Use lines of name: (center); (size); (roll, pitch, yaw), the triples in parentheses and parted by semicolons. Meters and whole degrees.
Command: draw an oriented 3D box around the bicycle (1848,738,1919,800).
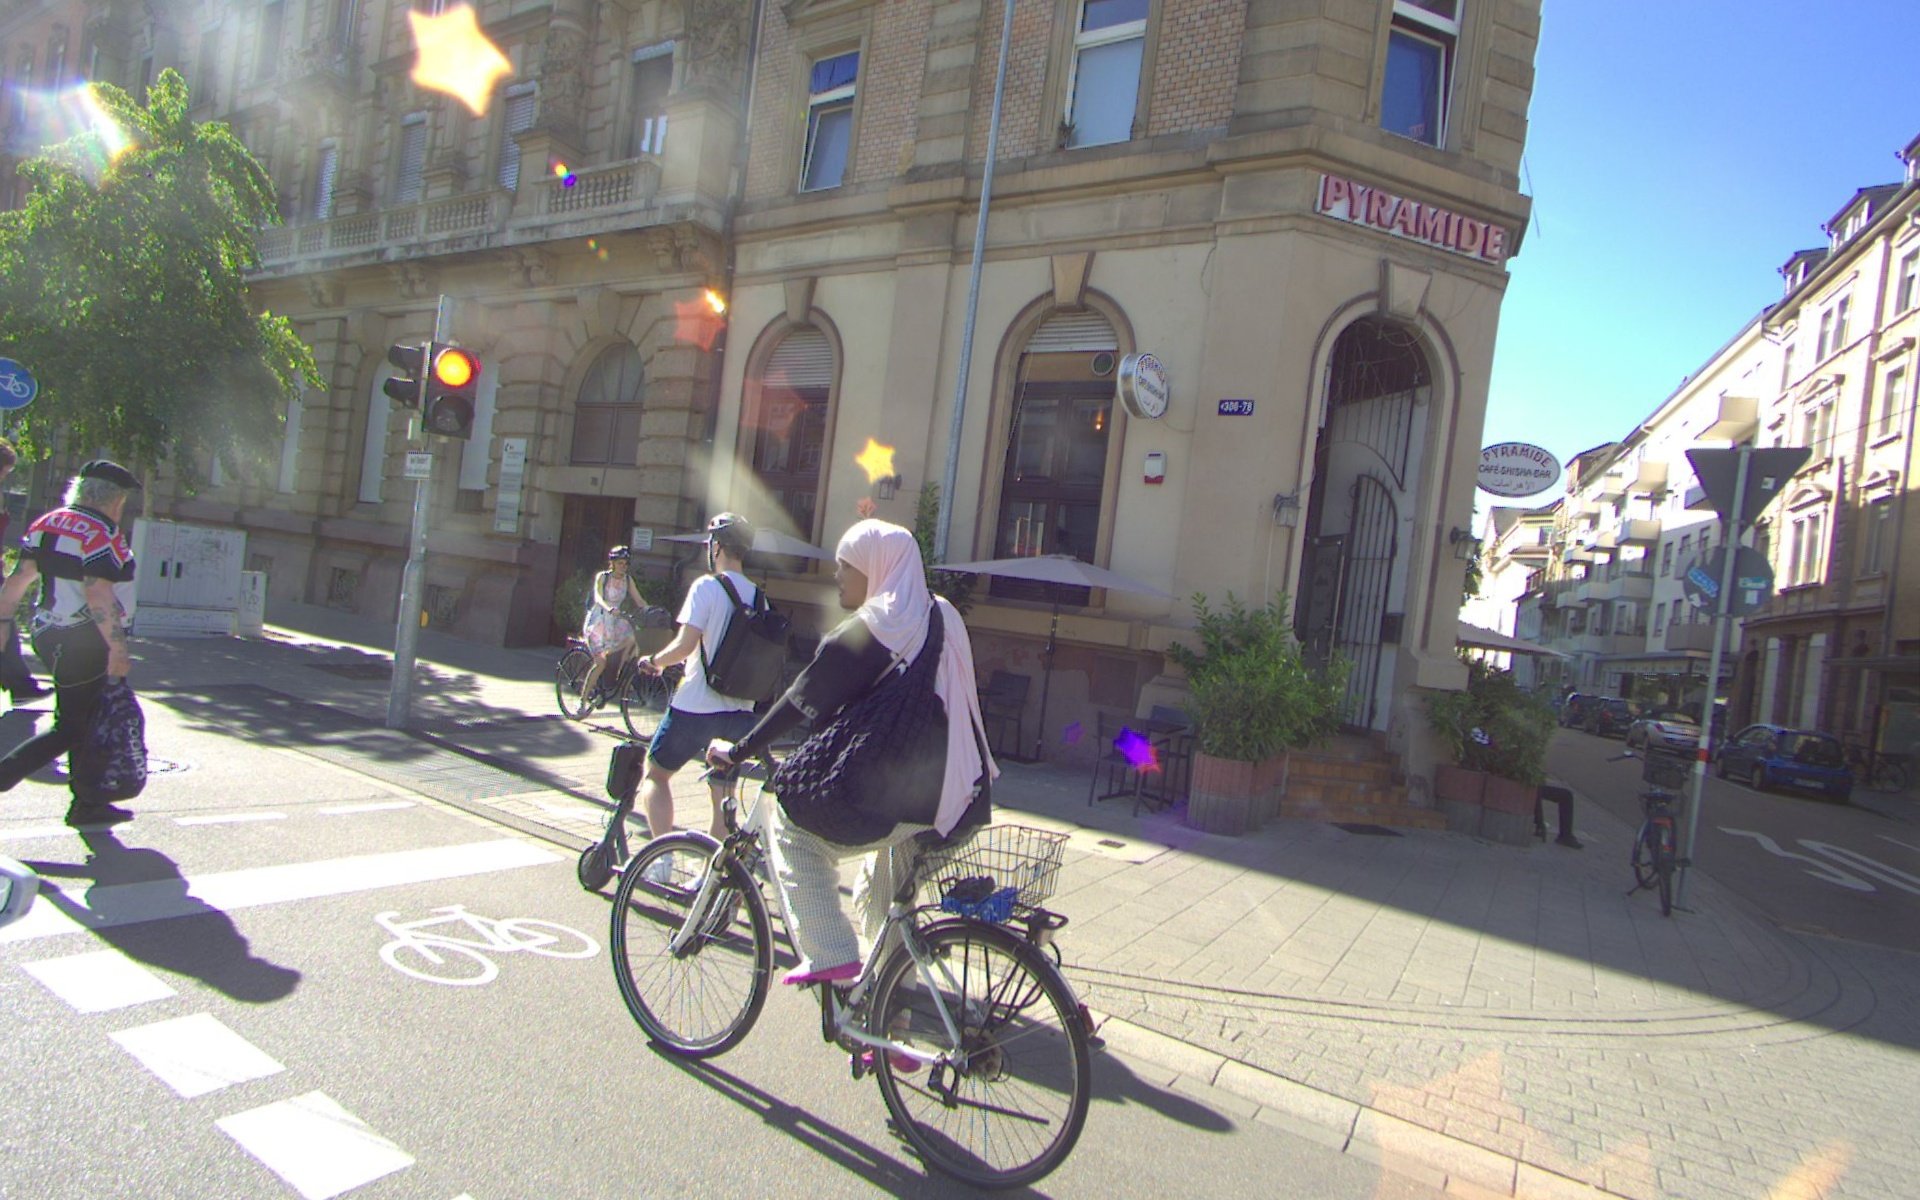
bicycle: (22.179, 4.008, 23.687); (0.621, 1.192, 2.014); (7, 0, 1)

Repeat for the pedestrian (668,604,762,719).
pedestrian: (-2.778, 0.691, 11.445); (0.624, 1.193, 0.706); (7, 2, 31)

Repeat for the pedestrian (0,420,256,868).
pedestrian: (-4.079, 0.171, 4.606); (0.953, 1.809, 0.867); (7, -1, 25)

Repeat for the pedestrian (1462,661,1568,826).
pedestrian: (6.605, 1.680, 12.031); (0.852, 1.781, 0.909); (7, -1, 25)

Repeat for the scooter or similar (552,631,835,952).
scooter or similar: (-1.282, 0.851, 4.801); (1.151, 1.240, 0.492); (7, -2, 31)

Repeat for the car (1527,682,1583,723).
car: (30.111, 5.144, 51.010); (1.769, 1.685, 3.772); (7, -1, 23)

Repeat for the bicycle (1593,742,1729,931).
bicycle: (5.696, 1.843, 8.201); (0.643, 1.186, 1.818); (11, 2, 35)

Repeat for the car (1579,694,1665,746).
car: (24.070, 4.311, 36.706); (1.769, 1.449, 3.773); (7, -1, 22)

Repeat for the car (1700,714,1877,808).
car: (18.516, 3.535, 22.723); (1.769, 1.437, 4.000); (9, 0, 22)

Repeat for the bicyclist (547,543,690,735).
bicyclist: (-3.229, 0.361, 9.513); (0.944, 1.659, 0.667); (7, 1, 31)

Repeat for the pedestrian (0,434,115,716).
pedestrian: (-6.851, -0.193, 7.072); (0.642, 1.932, 1.078); (7, 0, 25)

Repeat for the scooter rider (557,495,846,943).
scooter rider: (-1.222, 0.516, 4.806); (0.886, 1.882, 0.668); (7, -1, 31)

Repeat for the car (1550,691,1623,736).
car: (25.851, 4.650, 41.650); (1.769, 1.449, 3.773); (7, -1, 22)

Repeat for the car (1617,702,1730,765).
car: (21.830, 4.034, 30.965); (1.769, 1.350, 4.000); (9, 0, 22)

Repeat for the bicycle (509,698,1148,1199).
bicycle: (-0.450, 0.980, 2.945); (1.762, 1.105, 0.558); (7, -2, 31)

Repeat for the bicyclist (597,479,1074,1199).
bicyclist: (-0.330, 0.606, 2.915); (0.854, 1.731, 0.781); (7, -2, 31)

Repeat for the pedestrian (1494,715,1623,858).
pedestrian: (6.073, 1.863, 10.268); (0.917, 1.228, 0.852); (7, -1, 25)

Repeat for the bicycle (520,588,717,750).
bicycle: (-3.250, 0.617, 9.515); (1.868, 1.238, 0.584); (7, 0, 31)

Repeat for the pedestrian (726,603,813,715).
pedestrian: (-2.311, 0.710, 12.223); (0.624, 1.252, 0.706); (7, 2, 31)
